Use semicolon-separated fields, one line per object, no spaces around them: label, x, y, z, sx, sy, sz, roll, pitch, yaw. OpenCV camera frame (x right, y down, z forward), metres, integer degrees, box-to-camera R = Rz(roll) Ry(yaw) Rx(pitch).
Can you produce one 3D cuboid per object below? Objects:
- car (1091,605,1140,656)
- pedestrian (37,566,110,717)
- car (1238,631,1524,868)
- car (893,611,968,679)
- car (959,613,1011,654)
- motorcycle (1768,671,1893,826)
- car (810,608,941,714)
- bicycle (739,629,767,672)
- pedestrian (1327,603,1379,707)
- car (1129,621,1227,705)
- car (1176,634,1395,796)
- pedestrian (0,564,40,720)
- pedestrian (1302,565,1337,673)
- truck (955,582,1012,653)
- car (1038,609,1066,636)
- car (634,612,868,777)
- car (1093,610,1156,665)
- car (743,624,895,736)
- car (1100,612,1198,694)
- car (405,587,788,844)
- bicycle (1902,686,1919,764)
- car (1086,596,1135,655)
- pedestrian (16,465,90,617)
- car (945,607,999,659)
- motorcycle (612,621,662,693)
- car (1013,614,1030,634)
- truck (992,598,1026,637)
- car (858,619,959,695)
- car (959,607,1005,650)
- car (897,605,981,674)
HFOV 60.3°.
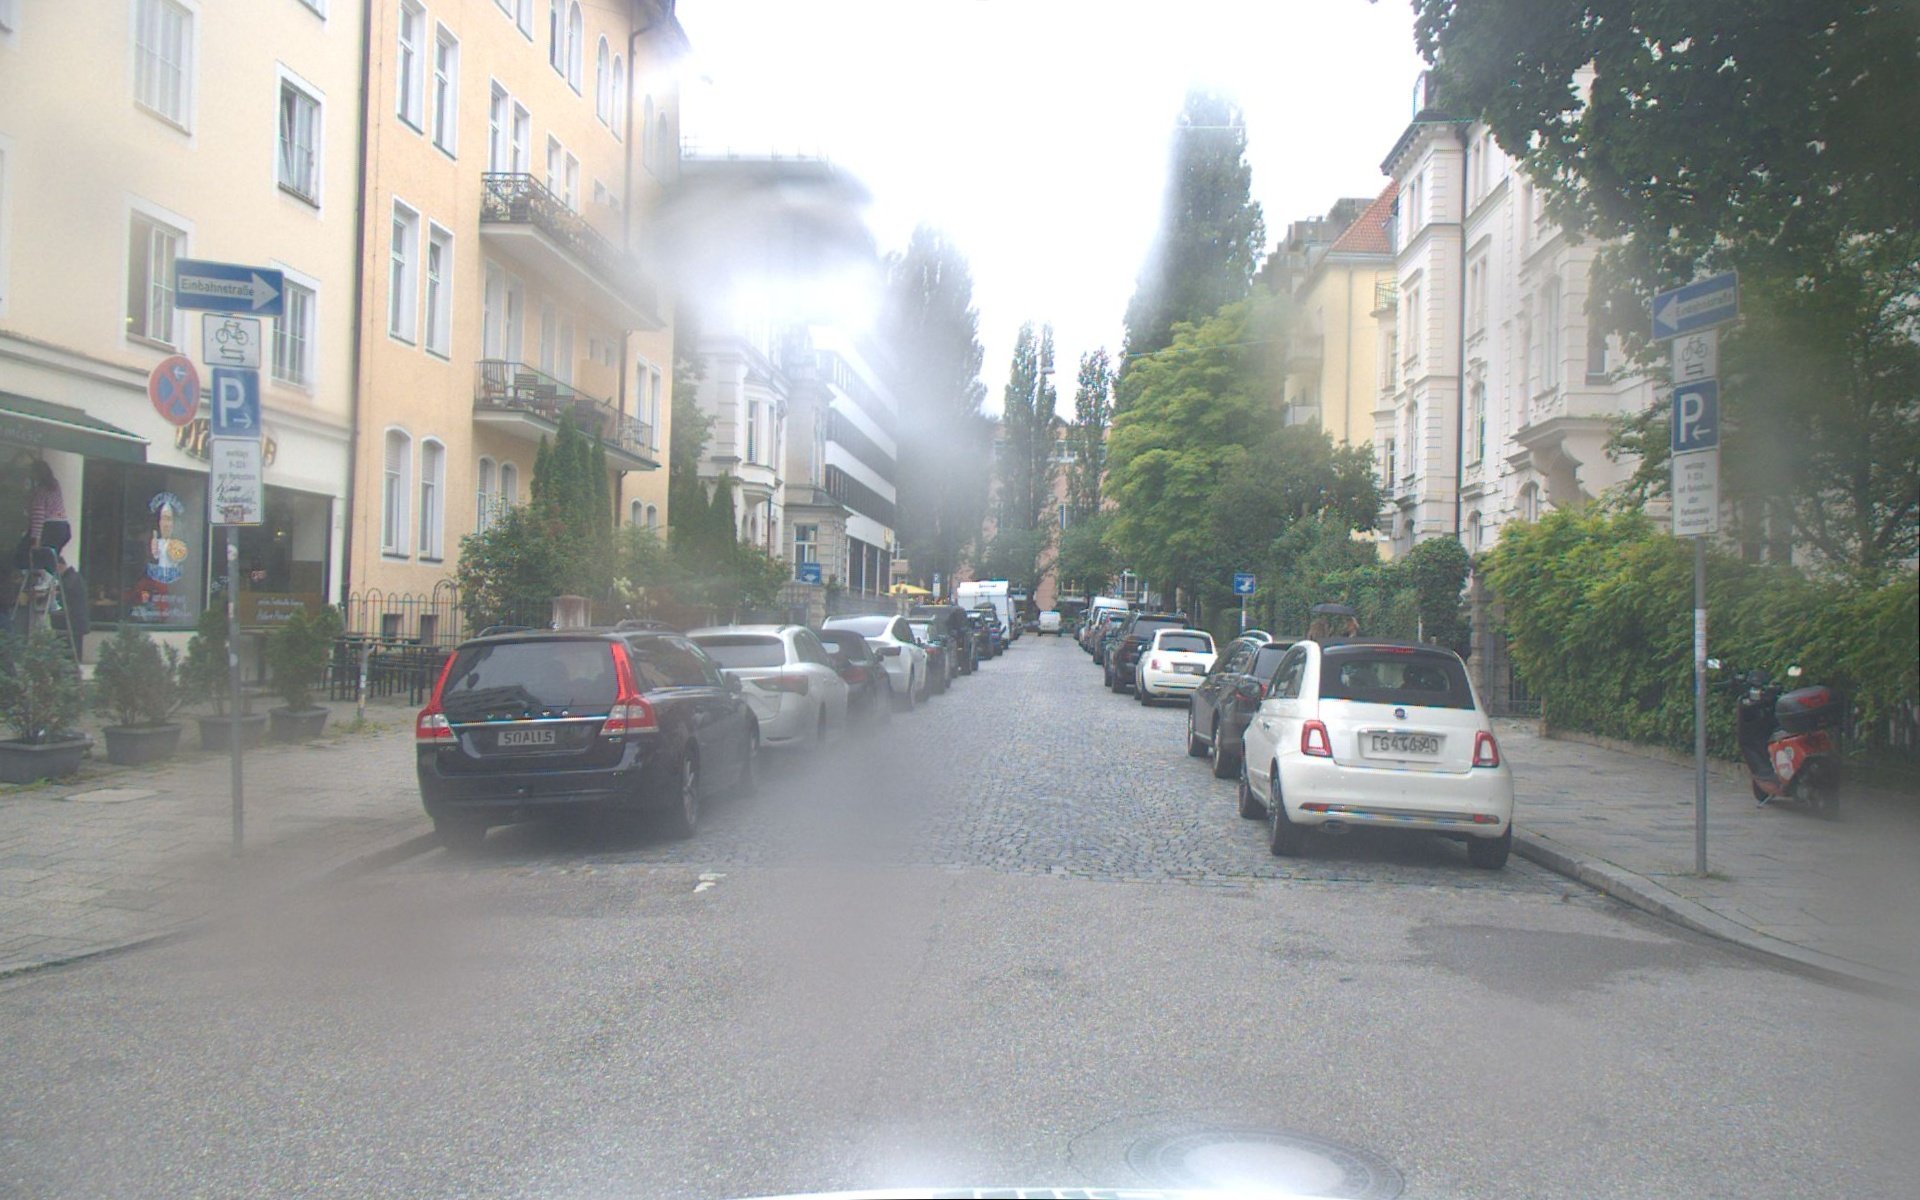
car;6.697;1.313;71.679;1.763;1.983;4.861;4;-1;3
pedestrian;-10.324;0.481;19.281;0.452;1.720;0.574;2;-1;3
car;3.047;1.005;12.621;1.470;1.497;3.797;1;-1;4
car;-0.695;1.119;41.709;1.546;1.618;4.057;-1;-1;4
car;0.997;1.317;65.042;1.899;1.485;4.059;2;-1;2
motorcycle;6.831;1.134;13.028;0.354;1.109;1.404;2;-1;6
car;-1.418;1.041;29.271;1.736;1.676;4.393;2;-1;4
bicycle;-5.123;1.241;40.938;0.344;1.020;1.573;2;-1;5
pedestrian;7.058;0.988;29.716;0.619;1.840;0.656;2;-1;-20
car;4.305;1.220;33.051;1.596;1.495;3.660;4;-1;3
car;3.492;1.173;18.544;1.614;1.446;4.633;5;-1;2
pedestrian;-10.473;0.449;17.969;0.511;1.671;0.630;2;-1;3
pedestrian;6.369;0.333;29.340;0.563;1.882;0.682;1;-1;11
truck;1.136;0.792;76.405;2.456;3.085;6.386;-1;0;2
car;6.962;1.687;125.270;1.954;1.970;4.002;1;-1;5
car;-2.115;0.942;17.988;1.736;1.563;4.542;0;-1;3
car;5.807;1.326;58.918;1.922;1.790;4.955;2;-1;3
car;-1.879;1.059;23.302;1.737;1.383;4.390;2;-1;0
car;4.306;1.190;38.351;1.836;1.702;5.492;2;-1;3
car;-2.611;0.791;13.130;1.813;1.614;4.749;2;-1;2
bicycle;10.417;1.333;16.958;0.481;0.826;2.275;2;-1;7
car;6.999;1.154;77.331;1.856;2.468;5.613;5;0;3
pedestrian;-10.228;-0.656;18.651;0.467;1.671;0.497;1;-1;7
car;0.470;1.202;59.837;1.737;1.748;4.392;2;-1;2
motorcycle;-5.658;0.978;29.033;0.480;1.215;1.580;1;-1;3
car;4.844;1.925;131.020;1.250;1.568;3.120;2;-1;3
truck;3.133;1.150;105.035;1.952;2.388;4.069;2;-1;3
car;-1.026;1.176;35.199;1.736;1.454;4.392;2;-1;3
car;0.956;1.192;69.995;1.854;1.781;4.168;0;-1;2
car;-0.535;1.072;46.609;1.941;1.768;4.724;2;0;4
